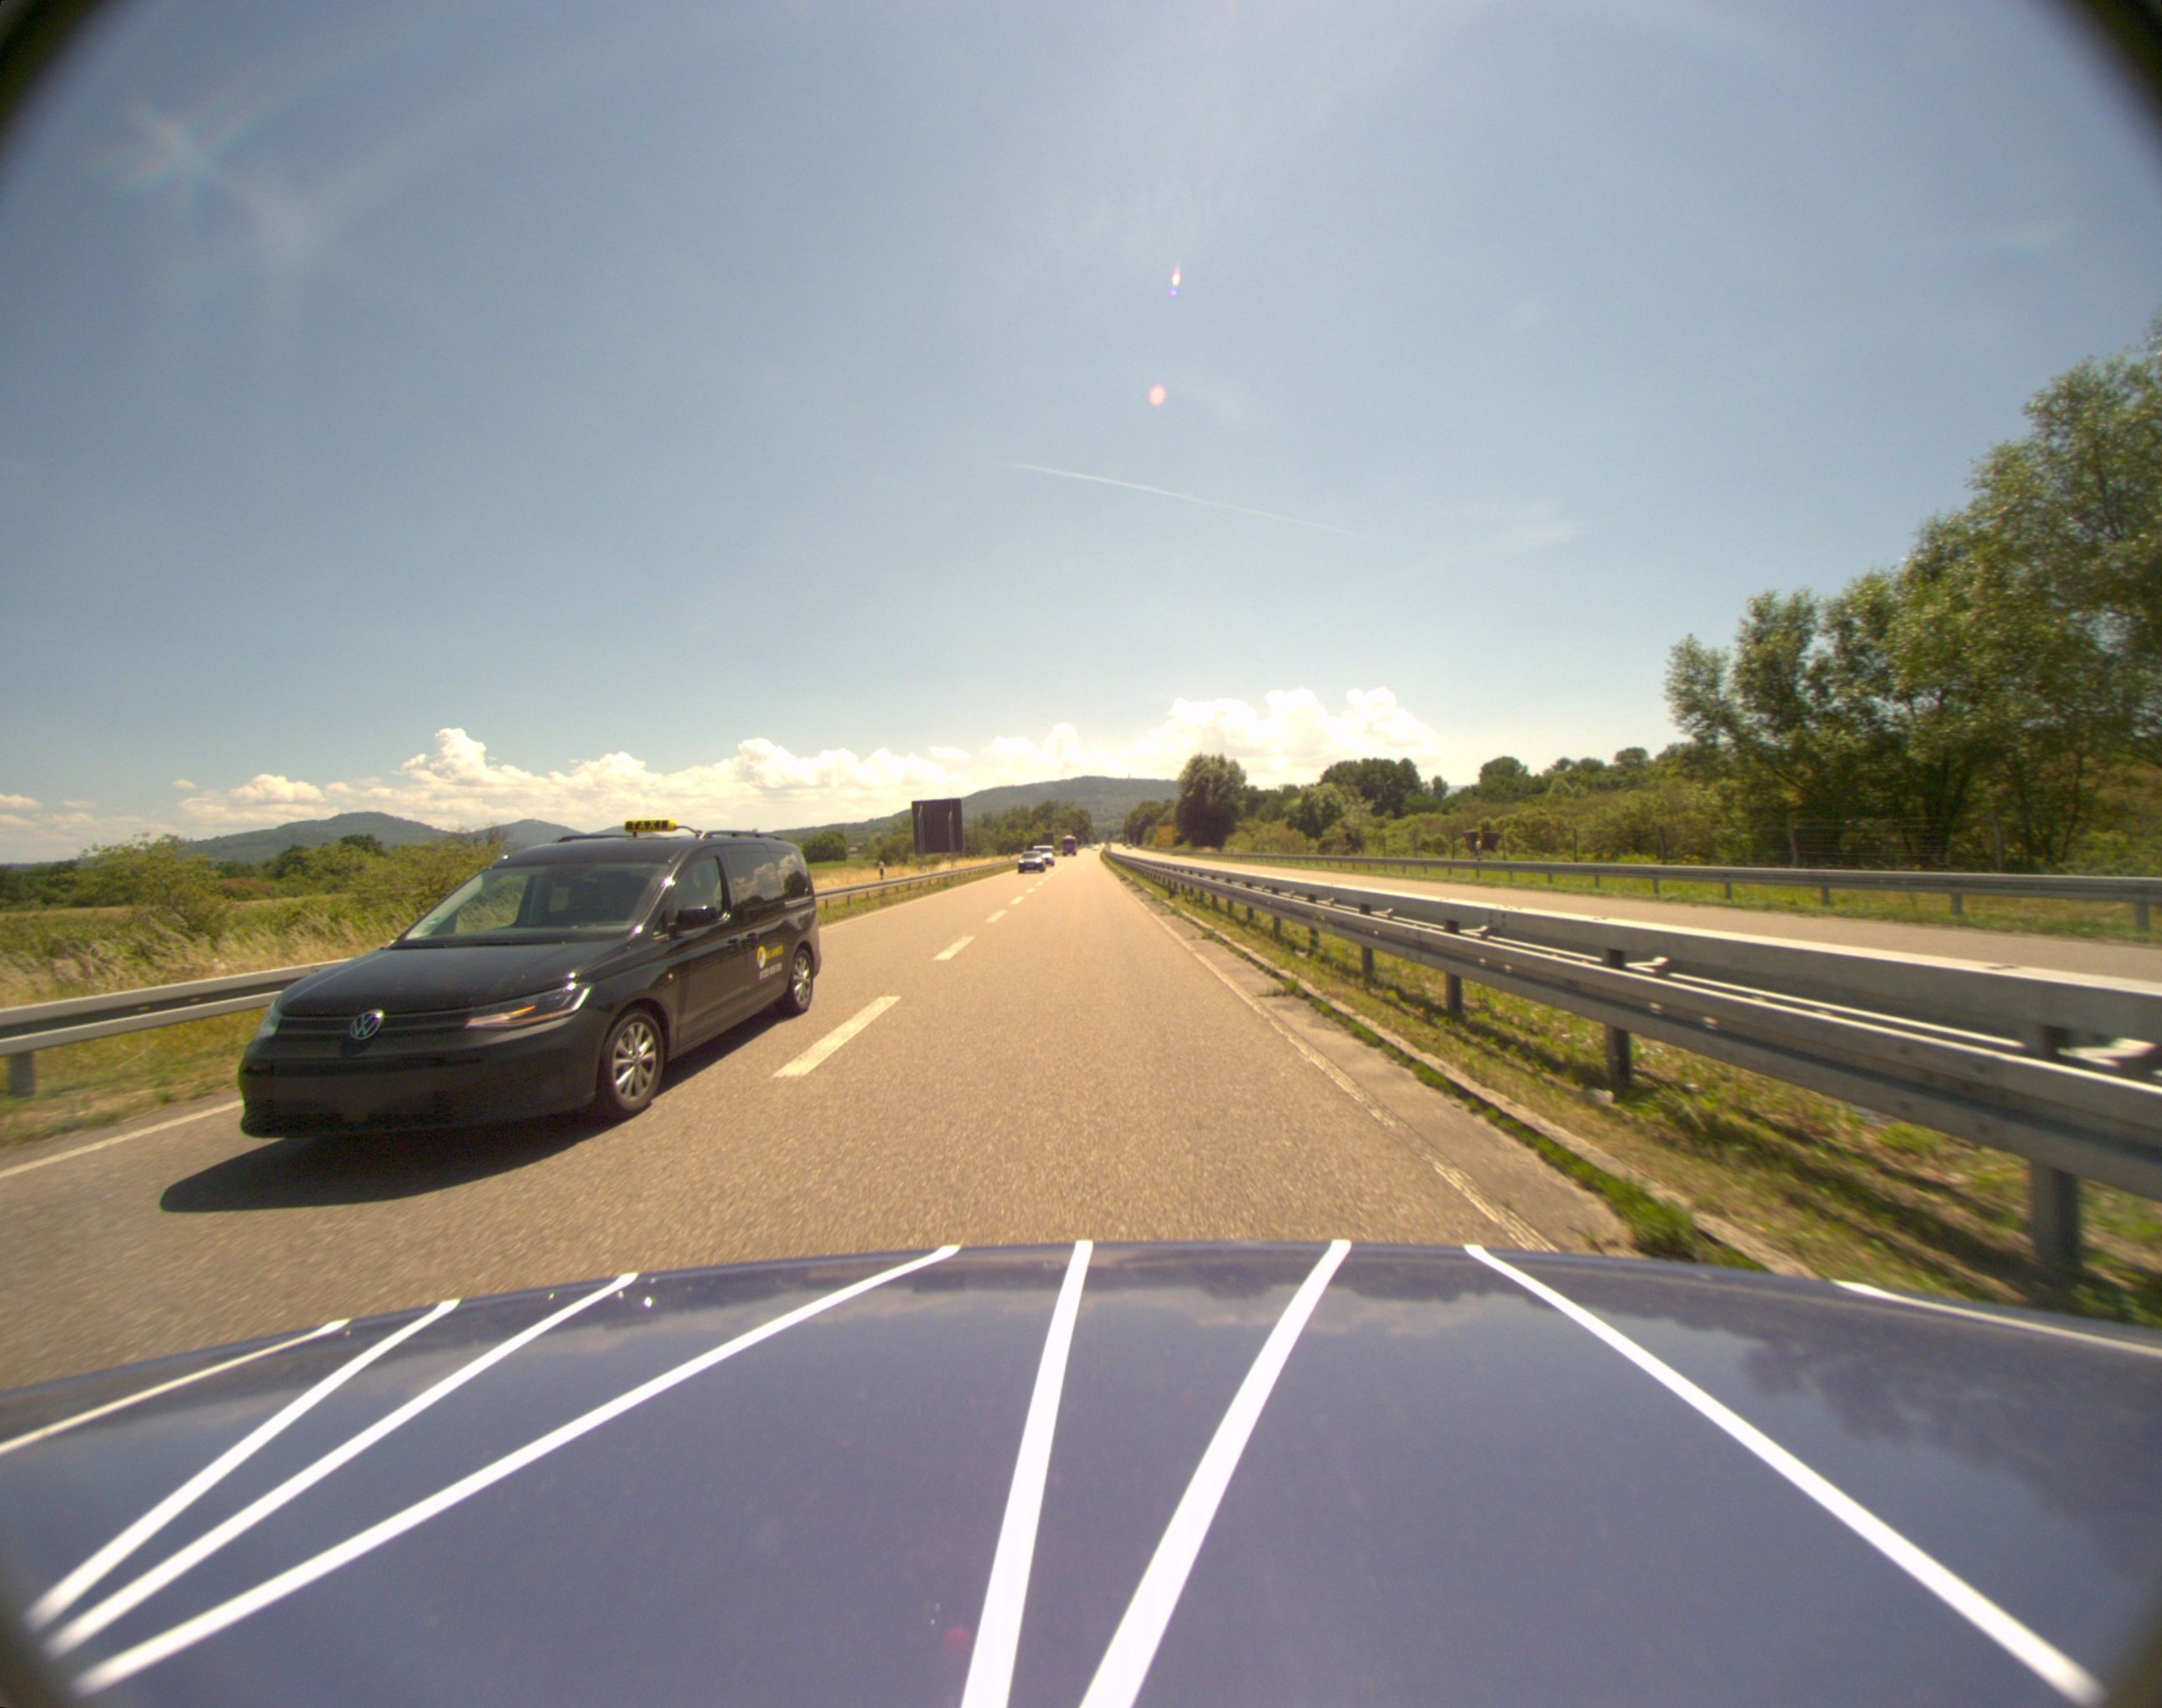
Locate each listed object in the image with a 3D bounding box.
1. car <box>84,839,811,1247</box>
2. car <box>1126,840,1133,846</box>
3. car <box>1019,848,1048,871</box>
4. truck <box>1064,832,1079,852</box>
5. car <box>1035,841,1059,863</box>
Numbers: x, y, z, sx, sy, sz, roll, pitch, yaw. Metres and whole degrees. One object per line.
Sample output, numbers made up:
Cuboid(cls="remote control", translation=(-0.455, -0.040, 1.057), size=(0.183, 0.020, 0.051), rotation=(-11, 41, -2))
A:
Cuboid(cls="car", translation=(-3.635, 0.841, 5.595), size=(1.784, 1.806, 4.211), rotation=(-2, 1, -1))
Cuboid(cls="car", translation=(14.517, -3.228, 225.771), size=(1.831, 1.489, 4.102), rotation=(-3, 1, 1))
Cuboid(cls="car", translation=(-3.384, 0.369, 54.982), size=(1.789, 1.544, 4.019), rotation=(-1, 1, 1))
Cuboid(cls="truck", translation=(-1.795, -2.211, 144.188), size=(2.604, 3.670, 5.939), rotation=(-2, 1, 2))
Cuboid(cls="car", translation=(-3.208, -0.220, 73.015), size=(2.011, 1.977, 5.033), rotation=(-3, 1, 0))
